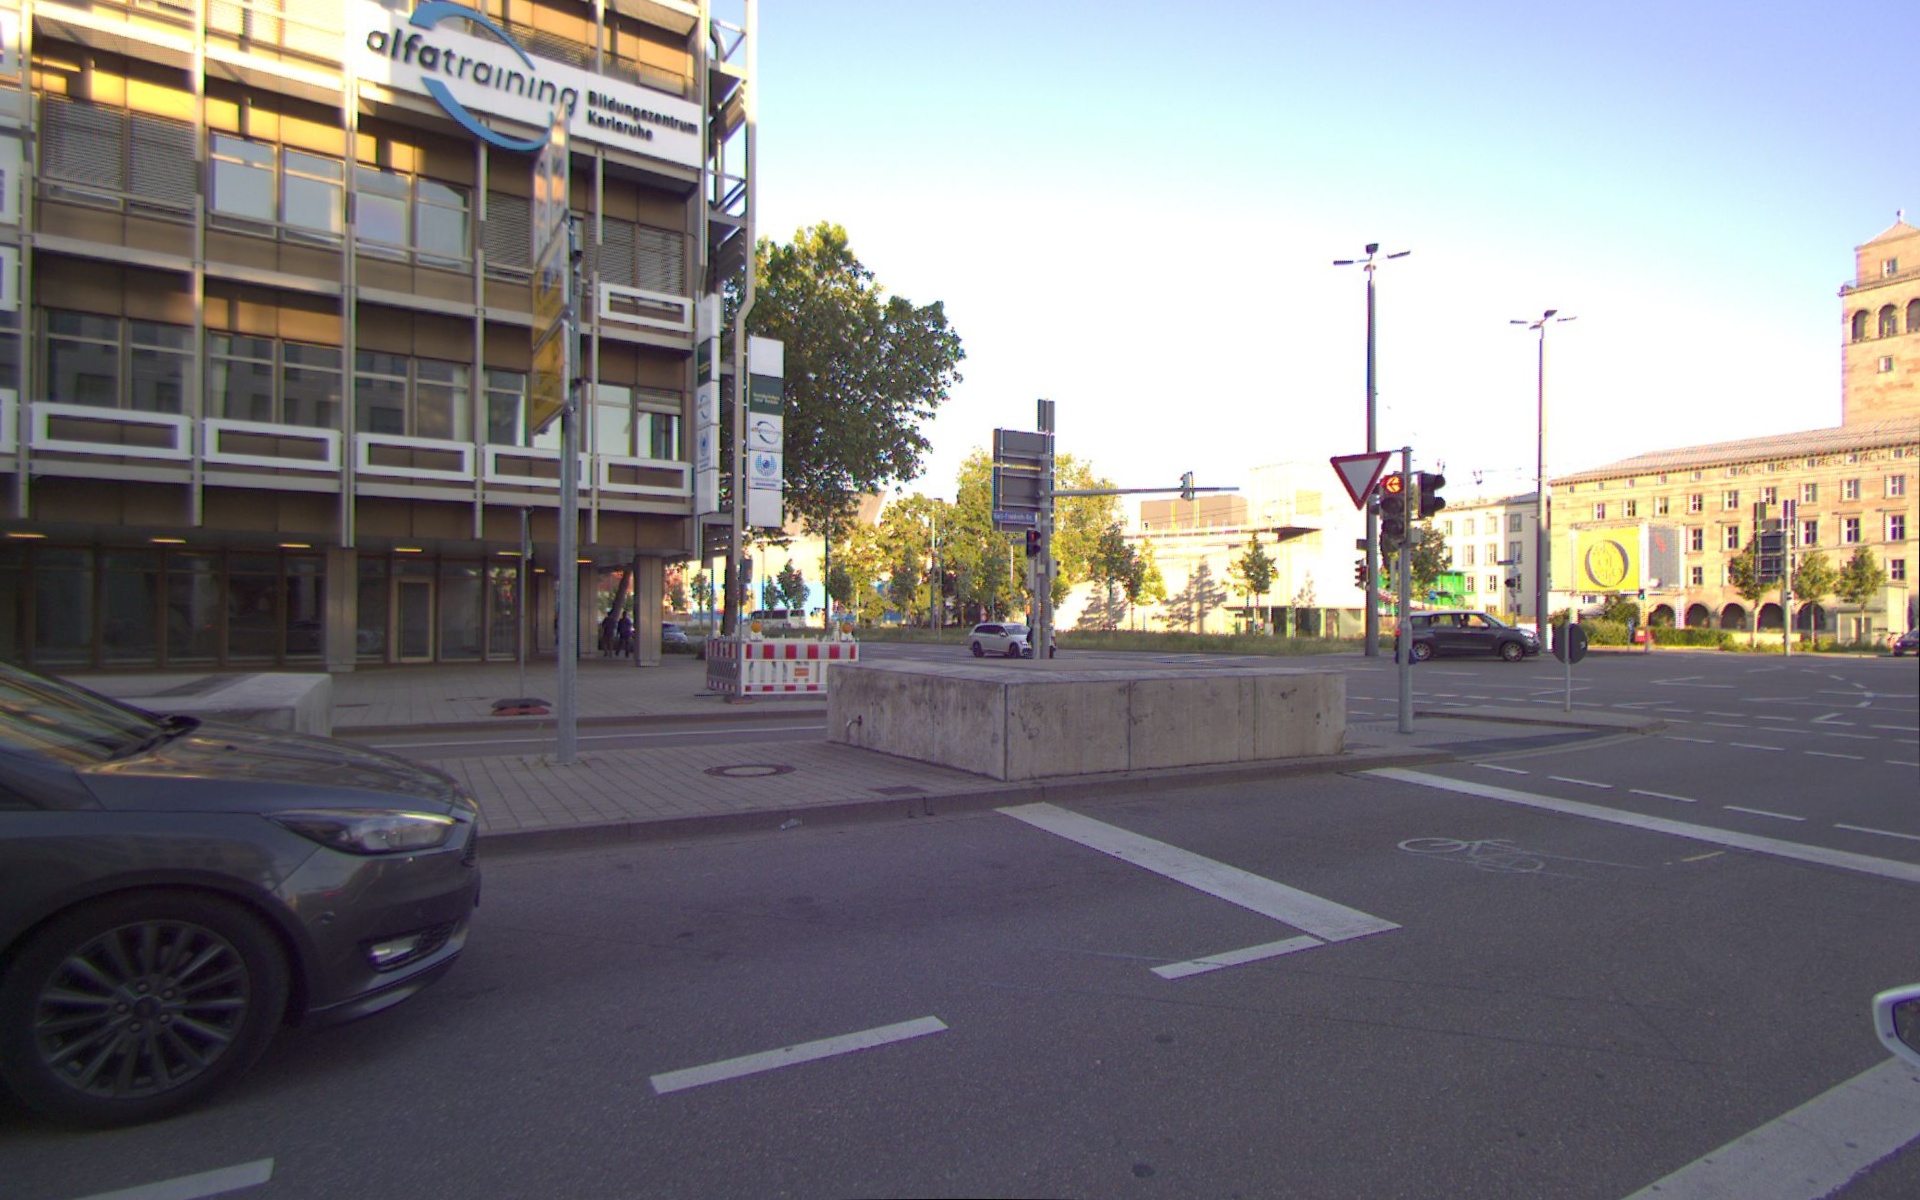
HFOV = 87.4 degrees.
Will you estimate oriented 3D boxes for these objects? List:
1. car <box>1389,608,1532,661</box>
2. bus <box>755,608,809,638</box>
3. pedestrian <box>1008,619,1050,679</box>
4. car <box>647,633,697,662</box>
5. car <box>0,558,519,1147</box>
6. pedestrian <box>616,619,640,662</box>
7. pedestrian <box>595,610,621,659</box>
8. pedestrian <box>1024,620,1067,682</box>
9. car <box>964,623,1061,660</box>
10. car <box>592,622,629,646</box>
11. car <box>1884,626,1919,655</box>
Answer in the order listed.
[{"bbox_3d":[16.215,1.087,32.644,4.059,1.626,1.742,-1,-1,29],"label":"car"},{"bbox_3d":[-23.166,2.963,130.115,2.959,3.818,10.341,1,-1,-34],"label":"bus"},{"bbox_3d":[2.034,1.429,29.608,0.949,1.744,0.816,1,-1,-34],"label":"pedestrian"},{"bbox_3d":[-16.913,2.752,58.860,1.722,1.605,4.554,0,-1,-30],"label":"car"},{"bbox_3d":[-3.674,0.614,2.769,4.330,1.482,1.748,1,1,-31],"label":"car"},{"bbox_3d":[-12.593,1.540,38.134,0.660,1.606,0.715,2,0,-34],"label":"pedestrian"},{"bbox_3d":[-13.283,1.304,37.888,0.749,1.830,0.715,2,0,-35],"label":"pedestrian"},{"bbox_3d":[2.457,1.438,28.828,0.949,1.744,0.816,1,-1,-34],"label":"pedestrian"},{"bbox_3d":[2.196,1.728,42.985,1.832,1.476,4.549,0,-1,-33],"label":"car"},{"bbox_3d":[-24.367,2.365,69.948,1.722,1.605,3.764,0,-1,-31],"label":"car"},{"bbox_3d":[51.253,2.132,53.599,4.111,1.485,1.813,0,-1,-32],"label":"car"}]
